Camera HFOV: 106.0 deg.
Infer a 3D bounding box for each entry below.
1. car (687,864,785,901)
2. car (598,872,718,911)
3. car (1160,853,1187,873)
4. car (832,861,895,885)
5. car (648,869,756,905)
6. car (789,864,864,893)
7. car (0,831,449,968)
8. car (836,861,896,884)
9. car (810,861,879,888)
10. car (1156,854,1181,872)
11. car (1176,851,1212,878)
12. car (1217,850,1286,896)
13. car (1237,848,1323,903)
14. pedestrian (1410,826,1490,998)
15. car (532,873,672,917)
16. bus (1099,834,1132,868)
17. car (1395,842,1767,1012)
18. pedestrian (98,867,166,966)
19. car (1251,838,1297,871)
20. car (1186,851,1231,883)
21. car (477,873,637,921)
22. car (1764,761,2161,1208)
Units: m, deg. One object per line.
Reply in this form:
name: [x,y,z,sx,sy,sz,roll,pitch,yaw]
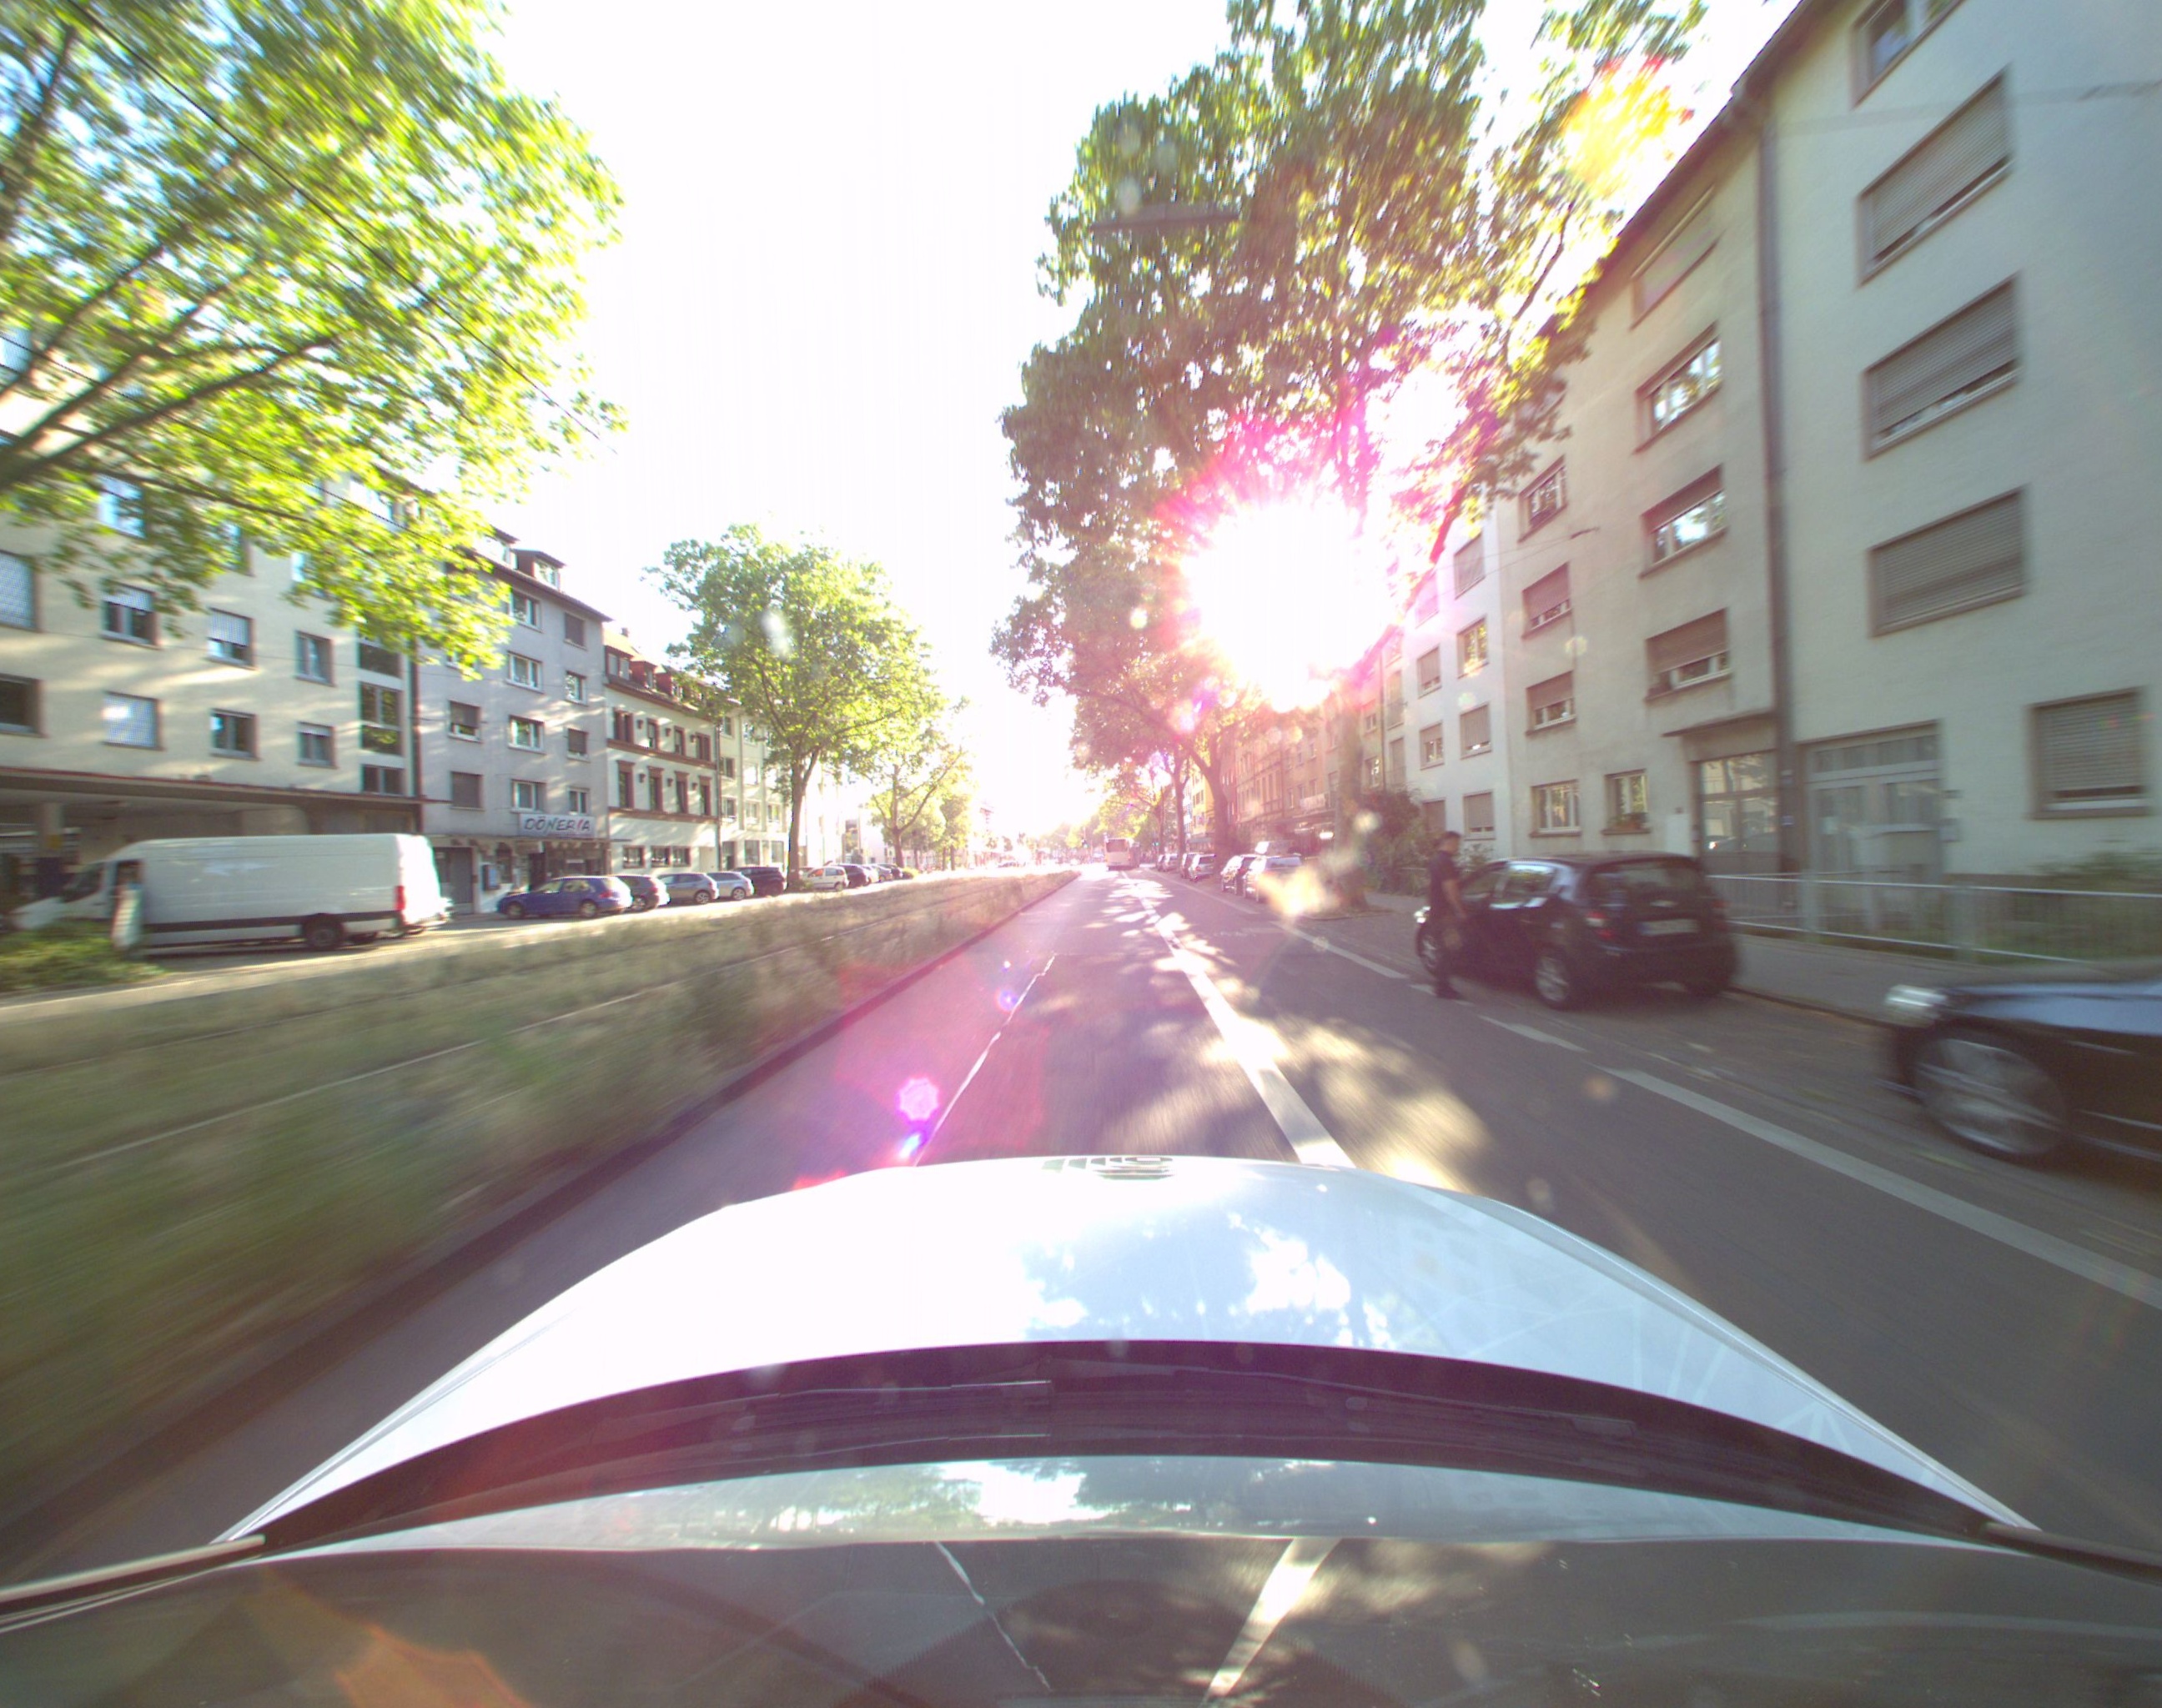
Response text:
car: [-17.737,1.432,41.958,4.334,1.738,1.837,-1,-1,-39]
car: [-18.307,1.578,35.310,4.334,1.458,1.837,-1,-1,-39]
car: [7.435,0.689,65.593,1.774,1.516,4.002,-2,0,2]
car: [-17.018,1.451,63.727,4.334,1.738,1.837,-1,-1,-39]
car: [-17.882,1.526,38.529,4.334,1.458,1.837,-1,-1,-39]
car: [-16.803,1.579,53.935,4.334,1.738,1.837,-1,-1,-39]
car: [-19.254,0.916,18.801,6.960,2.678,2.171,-2,-1,-20]
car: [-17.481,1.506,66.413,4.334,1.738,1.837,-1,-1,-39]
car: [-16.741,1.418,57.728,4.334,1.738,1.837,-1,-1,-39]
car: [7.693,0.765,71.942,1.774,1.516,4.002,-2,0,2]
car: [7.058,0.629,51.020,1.774,1.516,4.002,-2,0,2]
car: [6.225,0.641,30.132,1.774,1.516,4.002,-2,0,2]
car: [6.060,0.608,25.249,1.774,1.516,4.002,-2,0,2]
pedestrian: [3.984,0.608,8.813,0.574,1.779,0.514,-2,0,1]
car: [-18.217,1.514,31.196,4.314,1.458,1.845,-2,-1,-21]
bus: [3.458,-0.223,83.104,2.825,3.235,8.178,-2,-1,-1]
car: [5.326,0.689,9.399,1.681,1.486,3.996,-2,-1,-3]
pedestrian: [-20.065,1.299,17.234,0.636,2.013,0.631,-2,0,2]
car: [11.868,0.059,50.218,1.876,1.860,4.327,-2,-1,2]
car: [6.655,0.655,42.897,1.774,1.516,4.002,-2,0,2]
car: [-18.285,1.478,28.562,4.290,1.458,1.856,-2,-1,-4]
car: [5.127,0.483,2.576,1.738,1.770,4.988,-2,-1,1]
